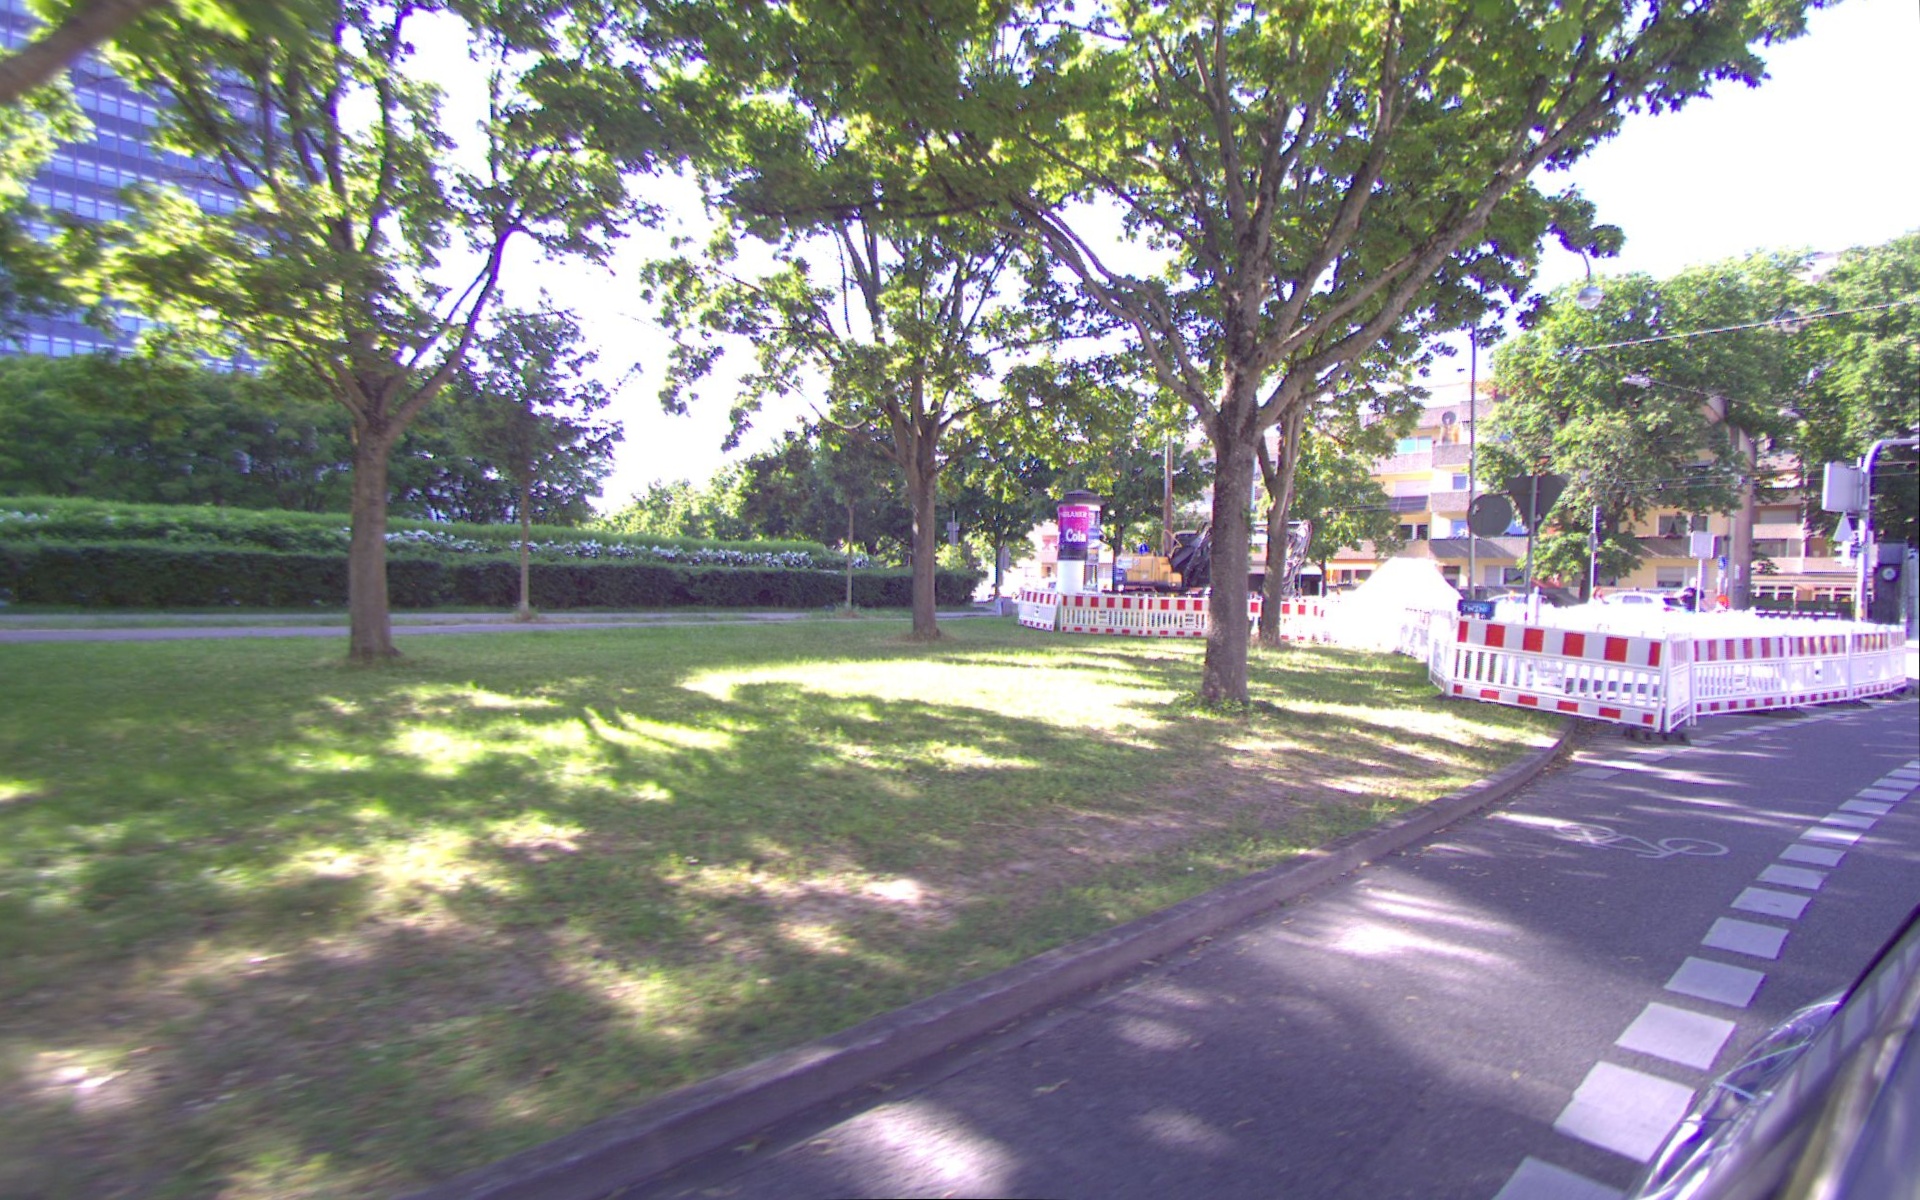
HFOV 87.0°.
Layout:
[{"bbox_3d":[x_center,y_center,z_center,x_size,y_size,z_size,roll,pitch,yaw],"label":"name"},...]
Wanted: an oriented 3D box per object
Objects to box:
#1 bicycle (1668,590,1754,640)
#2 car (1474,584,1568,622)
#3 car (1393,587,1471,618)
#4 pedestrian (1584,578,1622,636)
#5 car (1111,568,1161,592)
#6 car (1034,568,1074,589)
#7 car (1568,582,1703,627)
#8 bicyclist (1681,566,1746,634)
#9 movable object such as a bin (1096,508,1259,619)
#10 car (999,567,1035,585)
[{"bbox_3d":[20.971,0.405,28.295,0.641,1.281,1.787,2,1,-26],"label":"bicycle"},{"bbox_3d":[26.506,0.122,47.944,1.623,1.551,3.512,2,1,-30],"label":"car"},{"bbox_3d":[24.215,0.106,52.004,1.632,1.423,3.298,2,1,-29],"label":"car"},{"bbox_3d":[18.433,0.187,29.015,0.622,1.621,0.641,1,1,-18],"label":"pedestrian"},{"bbox_3d":[12.924,-1.491,74.463,1.773,1.567,3.543,2,1,-27],"label":"car"},{"bbox_3d":[8.169,-1.882,88.231,1.773,1.695,3.884,1,2,-25],"label":"car"},{"bbox_3d":[28.437,0.156,42.750,1.896,1.639,4.330,1,2,-27],"label":"car"},{"bbox_3d":[20.997,-0.015,28.224,0.895,1.853,1.098,1,1,-26],"label":"bicyclist"},{"bbox_3d":[7.200,-1.179,33.965,2.782,3.405,4.710,0,1,-36],"label":"movable object such as a bin"},{"bbox_3d":[5.292,-2.240,93.852,1.728,1.574,3.701,1,2,-25],"label":"car"}]
